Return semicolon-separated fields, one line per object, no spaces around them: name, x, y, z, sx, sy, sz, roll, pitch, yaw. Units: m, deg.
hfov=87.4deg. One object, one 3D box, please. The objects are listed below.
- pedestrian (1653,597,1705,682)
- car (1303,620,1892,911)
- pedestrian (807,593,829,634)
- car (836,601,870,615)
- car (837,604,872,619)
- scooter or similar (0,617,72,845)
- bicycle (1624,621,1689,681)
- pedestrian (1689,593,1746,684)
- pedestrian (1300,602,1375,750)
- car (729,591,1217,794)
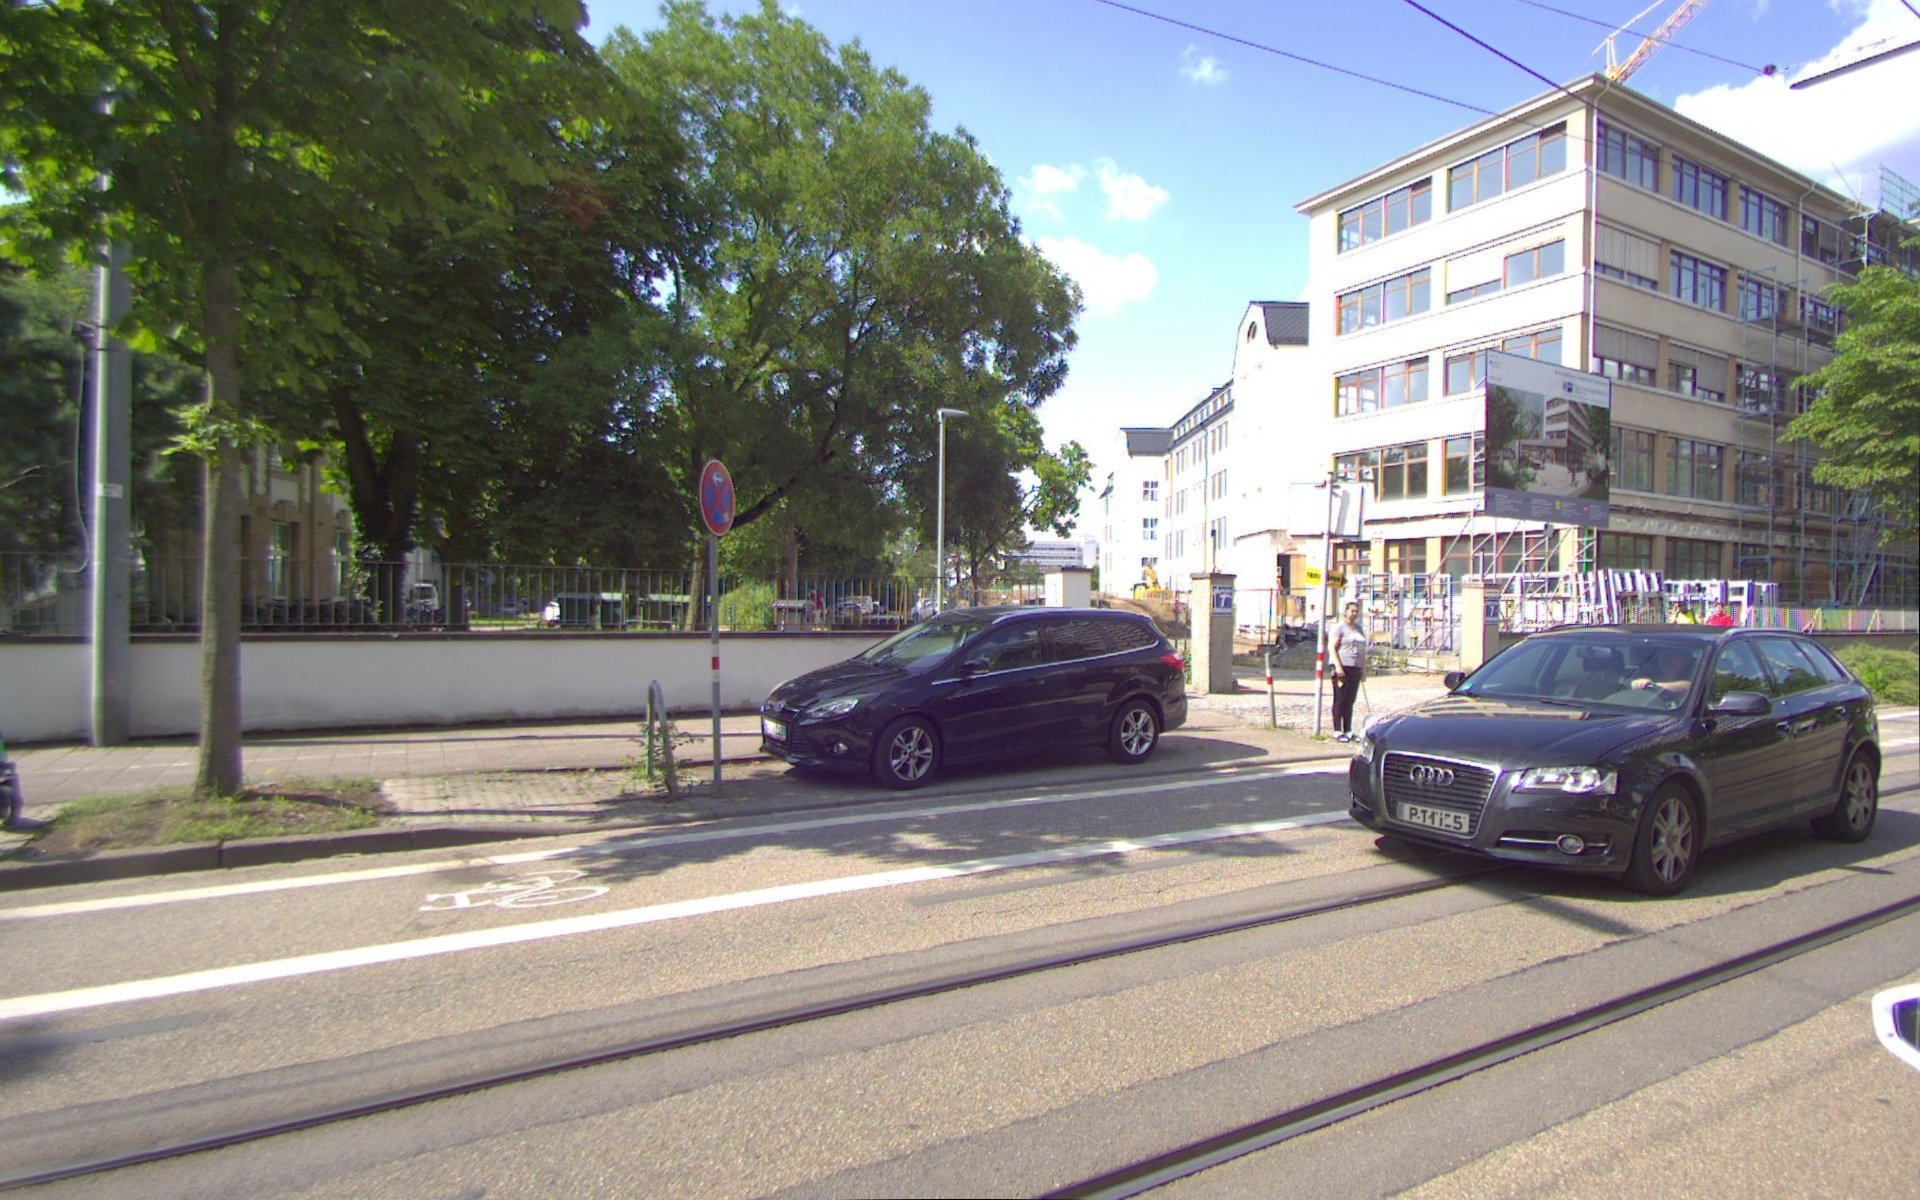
pedestrian;15.707;0.850;21.954;0.655;1.817;0.702;1;1;-35
car;4.282;0.849;6.614;3.954;1.394;1.714;1;-1;-31
pedestrian;-5.796;0.535;41.021;0.751;1.642;0.594;1;0;9
car;-11.953;0.929;112.134;3.594;1.509;1.785;1;0;0
car;-10.992;1.187;104.758;3.596;1.509;1.785;1;0;-3
scooter or similar;-6.351;0.785;6.353;0.845;1.297;1.331;1;1;-31
bicycle;15.516;1.117;22.370;1.716;1.303;0.444;1;0;-28
pedestrian;16.153;0.808;21.426;0.655;1.857;0.702;-1;4;-35
pedestrian;4.455;0.859;11.851;0.714;1.659;0.691;2;1;26
car;0.252;0.754;9.774;4.543;1.536;1.739;1;1;-33
